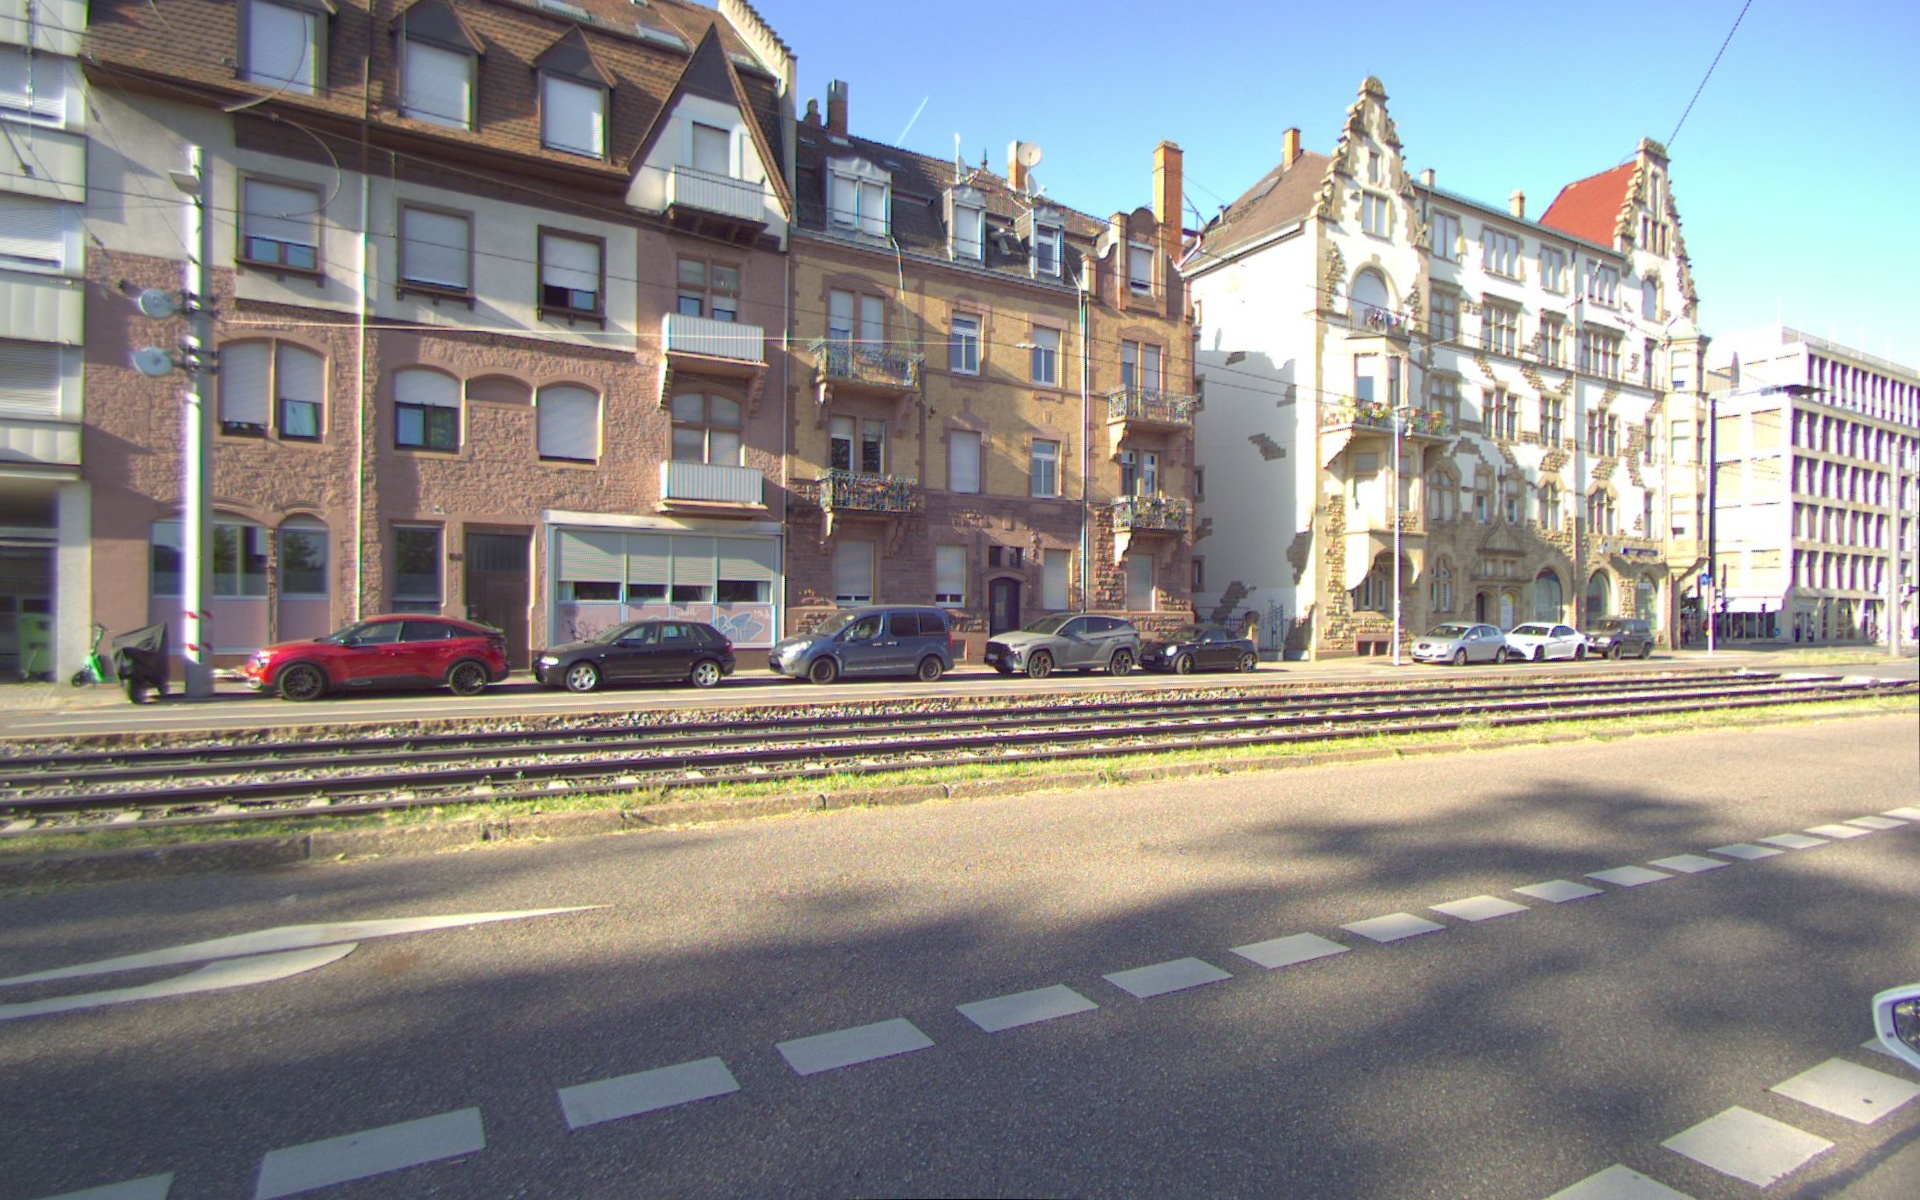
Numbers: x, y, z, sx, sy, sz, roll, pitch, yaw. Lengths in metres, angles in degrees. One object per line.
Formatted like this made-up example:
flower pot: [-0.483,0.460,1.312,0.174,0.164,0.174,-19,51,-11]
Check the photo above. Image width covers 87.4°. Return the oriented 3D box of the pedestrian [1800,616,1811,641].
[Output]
pedestrian: [64.882,2.201,77.105,0.522,1.868,0.443,0,-1,23]

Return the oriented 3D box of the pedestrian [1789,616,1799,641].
pedestrian: [64.421,2.205,77.570,0.464,1.868,0.443,0,-1,23]

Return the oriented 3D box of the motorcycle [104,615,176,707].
motorcycle: [-14.122,1.007,17.348,0.621,1.441,1.847,0,2,-29]

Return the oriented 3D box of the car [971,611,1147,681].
car: [2.665,1.179,26.749,4.451,1.645,1.846,1,2,-31]

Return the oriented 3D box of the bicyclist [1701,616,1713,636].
bicyclist: [61.964,2.150,83.344,0.570,1.708,0.638,1,-1,-30]

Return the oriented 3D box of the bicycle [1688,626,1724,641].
bicycle: [61.925,2.783,83.382,0.570,1.231,2.370,1,-1,-29]

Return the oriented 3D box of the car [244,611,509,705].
car: [-10.932,1.024,19.068,4.162,1.519,1.846,1,2,-31]

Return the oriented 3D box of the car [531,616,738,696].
car: [-6.833,1.113,21.162,3.882,1.457,1.686,1,2,-31]

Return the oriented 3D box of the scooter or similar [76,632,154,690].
scooter or similar: [-16.235,1.169,19.314,1.108,1.083,0.203,1,1,-30]

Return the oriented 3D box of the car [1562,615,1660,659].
car: [26.759,1.485,41.257,4.169,1.698,1.708,1,1,-32]

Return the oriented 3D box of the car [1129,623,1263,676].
car: [6.852,1.389,29.141,3.683,1.373,1.614,1,2,-31]

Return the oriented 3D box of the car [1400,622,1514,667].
car: [17.616,1.531,35.546,4.177,1.450,1.700,1,1,-32]

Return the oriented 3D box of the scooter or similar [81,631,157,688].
scooter or similar: [-16.361,1.153,19.549,1.108,1.083,0.203,1,1,-30]

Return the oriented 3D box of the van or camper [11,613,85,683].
van or camper: [-18.488,0.951,20.402,0.794,1.375,1.418,1,-1,-29]

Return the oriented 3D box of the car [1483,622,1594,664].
car: [22.212,1.602,38.533,4.603,1.442,1.708,1,1,-32]

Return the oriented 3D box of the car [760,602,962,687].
car: [-2.333,0.999,23.799,4.361,1.782,1.878,1,2,-28]
